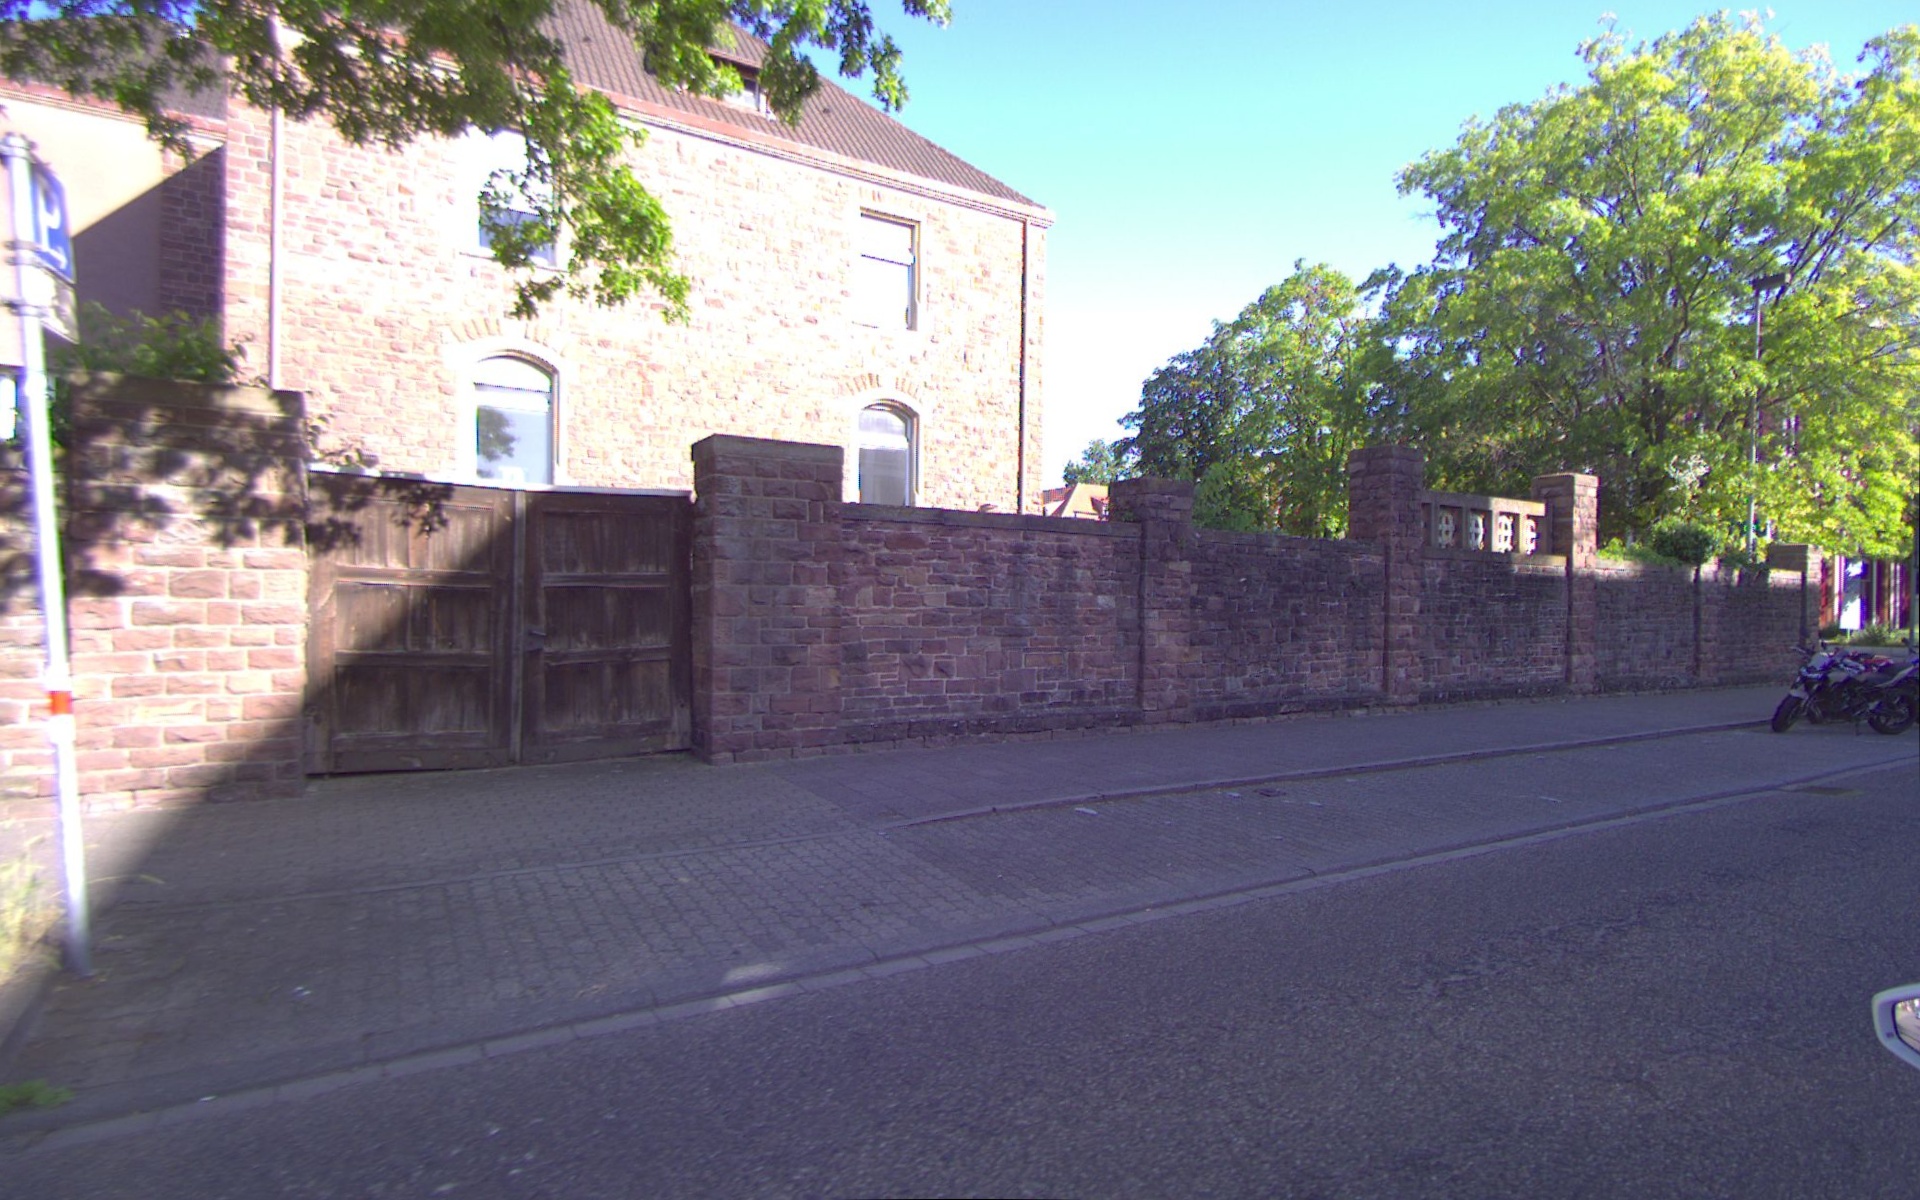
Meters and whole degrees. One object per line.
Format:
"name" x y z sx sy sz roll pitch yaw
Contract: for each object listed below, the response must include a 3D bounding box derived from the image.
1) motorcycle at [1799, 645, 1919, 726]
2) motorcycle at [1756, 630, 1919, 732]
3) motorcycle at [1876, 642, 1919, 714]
"motorcycle" 13.152 1.203 14.184 2.079 1.089 0.578 0 0 2
"motorcycle" 11.873 1.063 13.360 2.079 1.293 0.578 0 0 2
"motorcycle" 15.558 1.210 15.603 2.079 1.089 0.578 0 0 2
